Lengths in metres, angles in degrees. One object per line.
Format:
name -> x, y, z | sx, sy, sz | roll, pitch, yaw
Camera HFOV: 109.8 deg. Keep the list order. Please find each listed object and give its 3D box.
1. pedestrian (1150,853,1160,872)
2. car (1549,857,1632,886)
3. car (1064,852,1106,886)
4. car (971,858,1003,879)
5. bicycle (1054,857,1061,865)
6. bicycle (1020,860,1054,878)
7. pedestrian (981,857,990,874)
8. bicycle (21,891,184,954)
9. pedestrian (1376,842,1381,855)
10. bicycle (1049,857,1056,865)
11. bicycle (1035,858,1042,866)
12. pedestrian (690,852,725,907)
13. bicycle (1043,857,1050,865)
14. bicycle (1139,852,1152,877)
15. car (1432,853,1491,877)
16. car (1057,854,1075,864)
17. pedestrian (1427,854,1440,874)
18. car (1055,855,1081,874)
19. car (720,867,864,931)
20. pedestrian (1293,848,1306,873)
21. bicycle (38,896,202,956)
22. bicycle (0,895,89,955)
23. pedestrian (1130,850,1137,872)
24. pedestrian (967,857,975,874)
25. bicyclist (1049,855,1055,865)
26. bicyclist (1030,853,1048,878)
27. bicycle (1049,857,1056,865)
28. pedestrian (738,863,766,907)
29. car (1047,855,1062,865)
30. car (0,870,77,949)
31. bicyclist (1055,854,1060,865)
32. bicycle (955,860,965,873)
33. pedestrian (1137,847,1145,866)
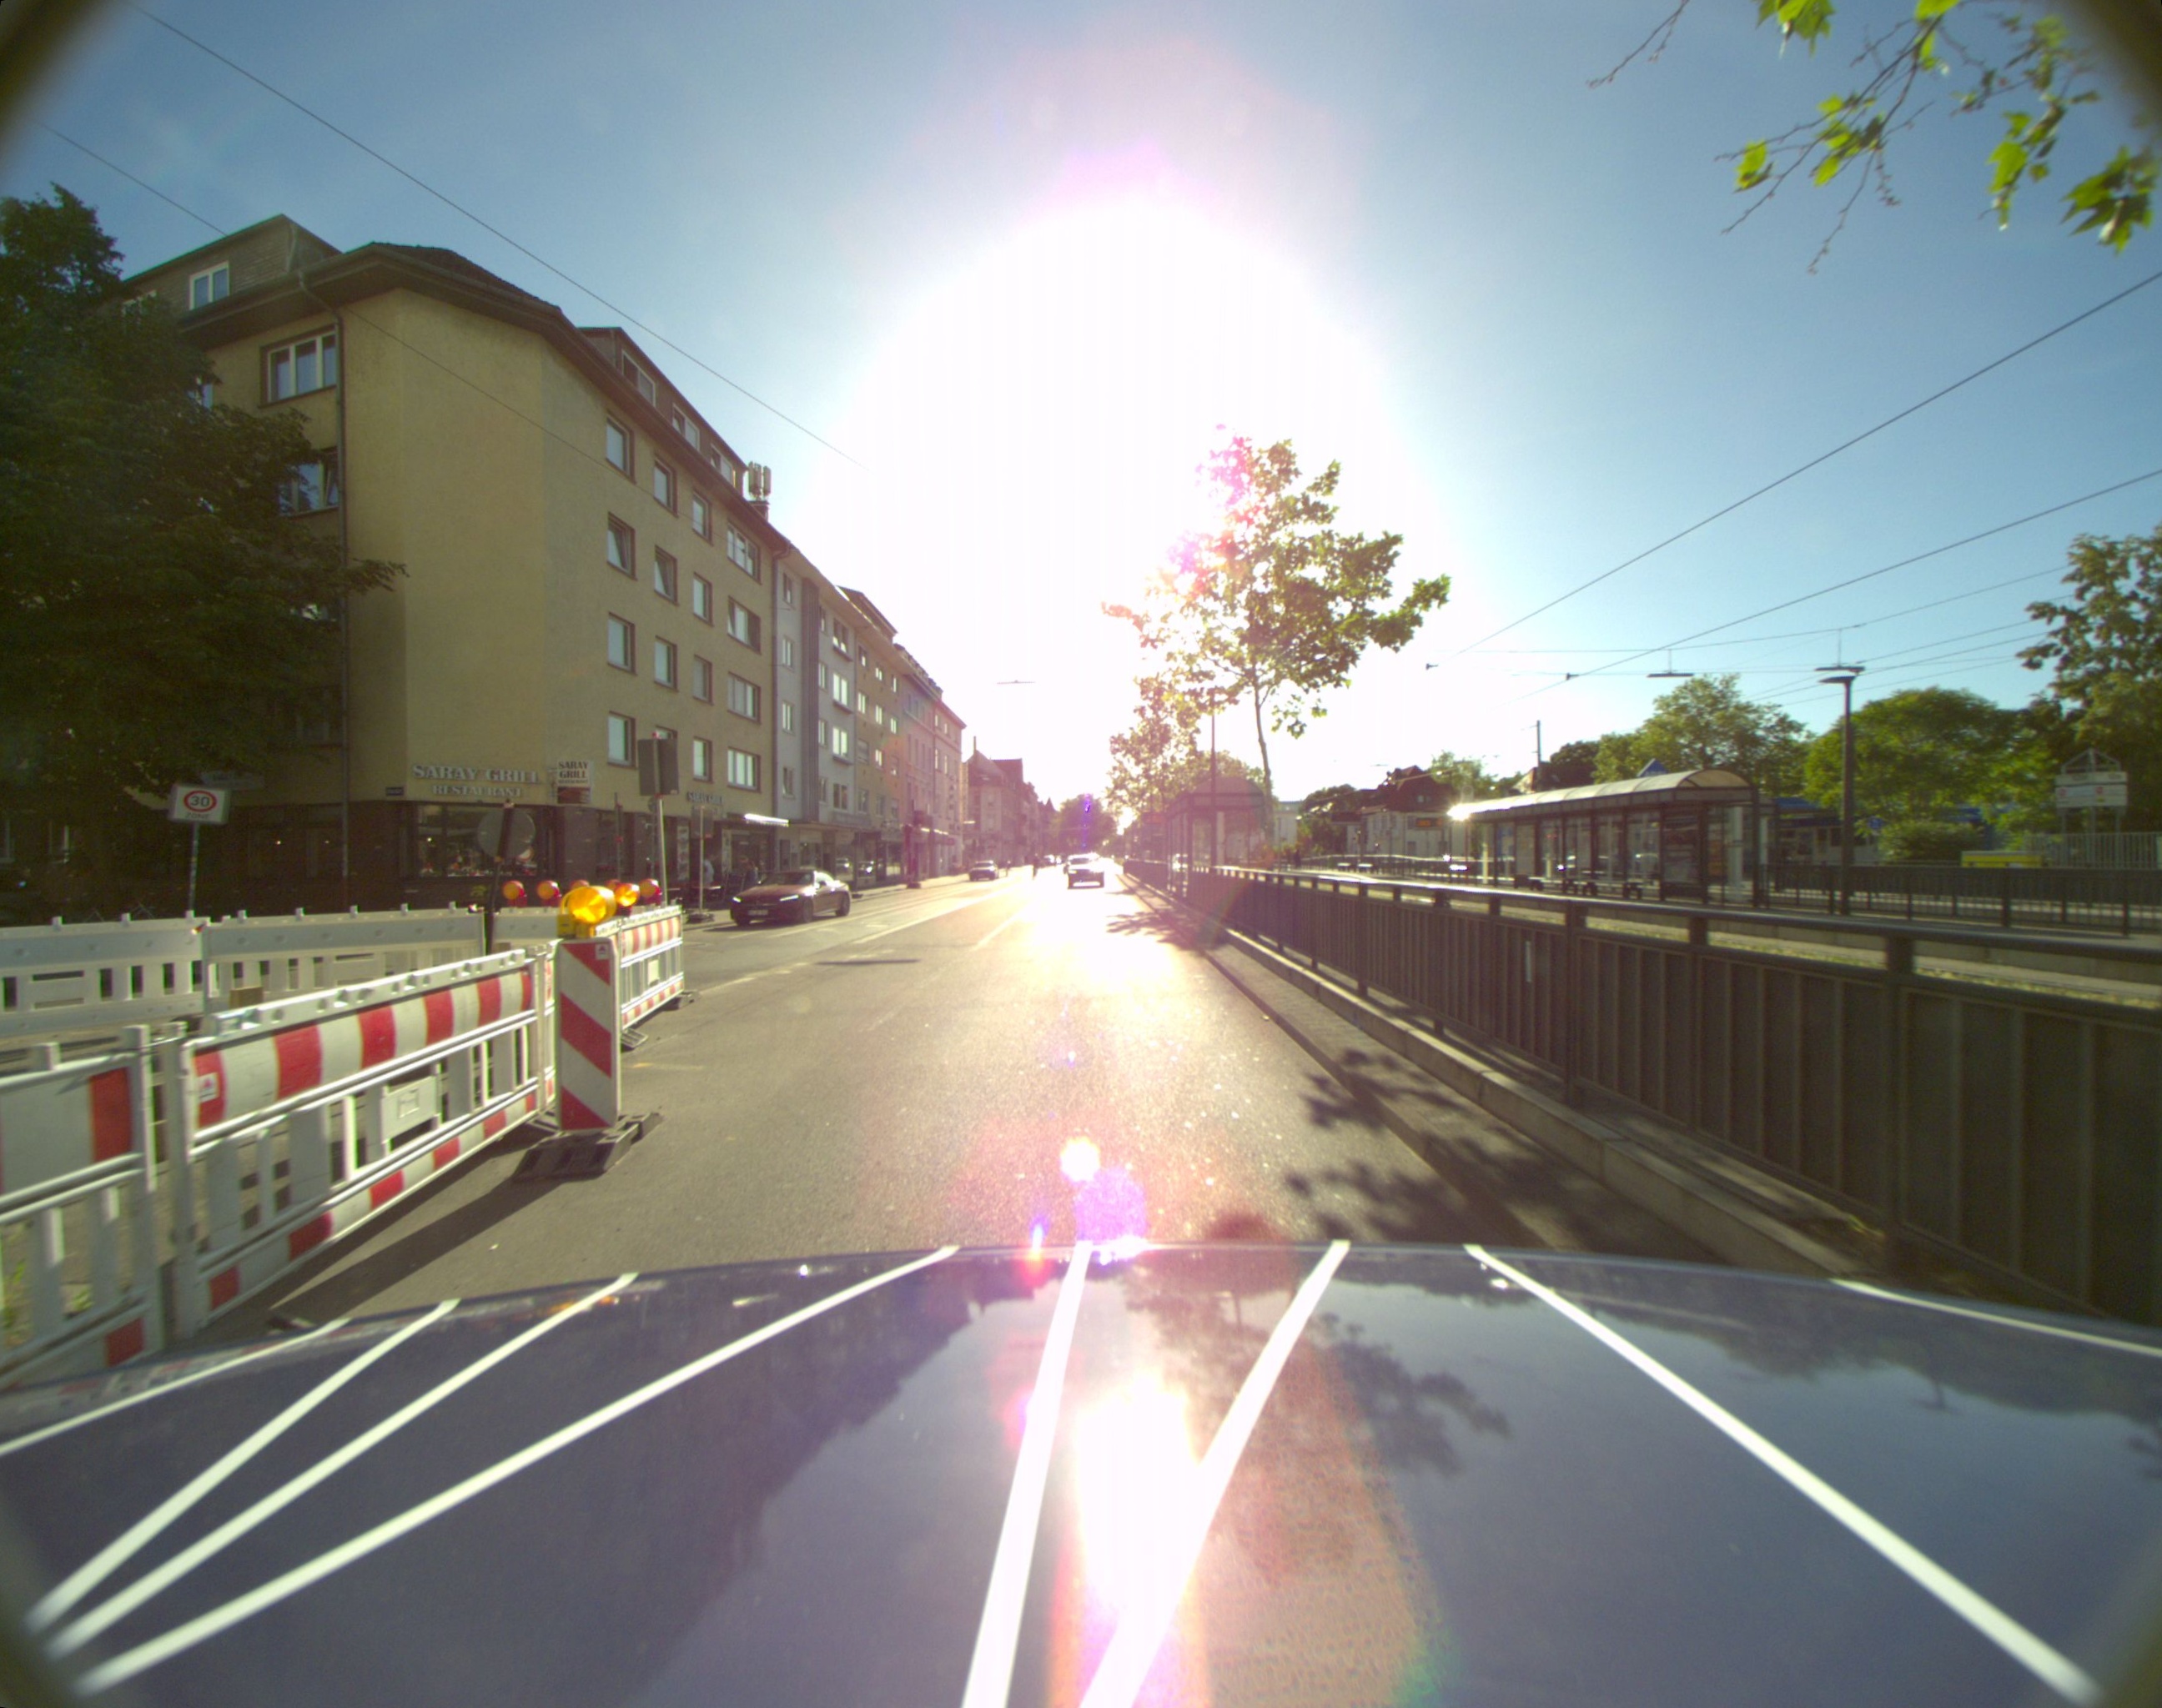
pedestrian -> 6.567, 0.736, 67.566 | 0.803, 1.680, 1.008 | 0, 1, 4
car -> 26.832, 0.891, 40.179 | 1.802, 1.412, 4.000 | -1, 0, 3
car -> 0.294, 0.758, 40.274 | 1.979, 1.660, 4.621 | -1, 0, 3
car -> -7.167, 1.105, 58.337 | 1.904, 1.421, 4.716 | -2, 0, 0
bicycle -> -3.465, 1.008, 113.104 | 0.693, 1.208, 2.299 | 0, 0, 6
bicycle -> -3.331, 1.149, 58.066 | 2.382, 1.349, 1.020 | -1, 1, -26
pedestrian -> -9.603, 1.127, 76.784 | 0.775, 1.680, 0.800 | -1, -2, 1
bicycle -> -19.264, 1.311, 15.014 | 0.368, 1.076, 1.947 | 0, 0, 37
pedestrian -> 37.818, -0.681, 96.651 | 0.417, 1.733, 0.409 | -1, 1, 1
bicycle -> -4.372, 1.114, 115.687 | 0.693, 1.208, 2.299 | 0, 0, 6
bicycle -> -6.328, 1.145, 113.489 | 0.693, 1.208, 2.299 | 0, 0, 6
pedestrian -> -12.701, 0.860, 25.846 | 0.730, 1.843, 0.901 | 0, -1, 4
bicycle -> -5.162, 1.050, 113.435 | 0.693, 1.208, 2.299 | 0, 0, 6
bicycle -> 3.643, 0.574, 42.902 | 0.641, 1.371, 2.170 | 0, 0, 2
car -> 23.829, 0.683, 47.729 | 1.802, 1.412, 4.000 | -1, 0, 3
car -> -2.320, 0.795, 119.036 | 2.294, 1.566, 4.596 | -1, 0, 6
pedestrian -> 29.913, 0.869, 64.546 | 0.653, 1.680, 0.826 | -1, 1, -7
car -> -1.157, 0.920, 69.490 | 1.998, 1.594, 4.274 | -1, 0, 5
car -> -7.825, 1.145, 21.208 | 1.876, 1.434, 5.159 | -1, 0, 2
pedestrian -> 14.350, 0.429, 49.958 | 0.686, 1.583, 0.735 | -1, 1, 2
bicycle -> -18.471, 1.353, 14.670 | 0.368, 0.998, 1.947 | 0, 0, 37
bicycle -> -21.170, 1.416, 15.287 | 0.369, 1.076, 1.824 | -1, 0, -13
pedestrian -> 4.541, 0.602, 65.691 | 0.637, 1.817, 0.776 | 0, 1, 4
pedestrian -> -11.158, 1.176, 77.074 | 0.663, 1.680, 0.677 | -1, 1, 1
bicyclist -> -4.395, 0.940, 115.591 | 0.696, 1.596, 0.745 | 0, 1, 6
bicyclist -> -3.224, 0.900, 58.105 | 1.005, 1.872, 0.991 | -1, 1, -26
bicycle -> -4.287, 1.011, 113.200 | 0.693, 1.208, 2.299 | 0, 0, 6
pedestrian -> -11.400, 1.077, 26.324 | 0.672, 1.498, 0.652 | -1, 1, 1
car -> -4.688, 1.046, 135.324 | 2.294, 1.716, 4.595 | -1, 0, 4
car -> -24.482, 1.170, 16.620 | 4.238, 1.632, 2.003 | 0, -1, 22
bicyclist -> -3.502, 0.770, 113.802 | 0.696, 1.596, 0.745 | 0, 1, 6
bicycle -> -10.548, 1.087, 65.997 | 0.697, 1.102, 1.863 | -1, 0, -13
pedestrian -> 5.317, 0.248, 67.387 | 0.743, 1.680, 0.776 | 0, 1, 4
